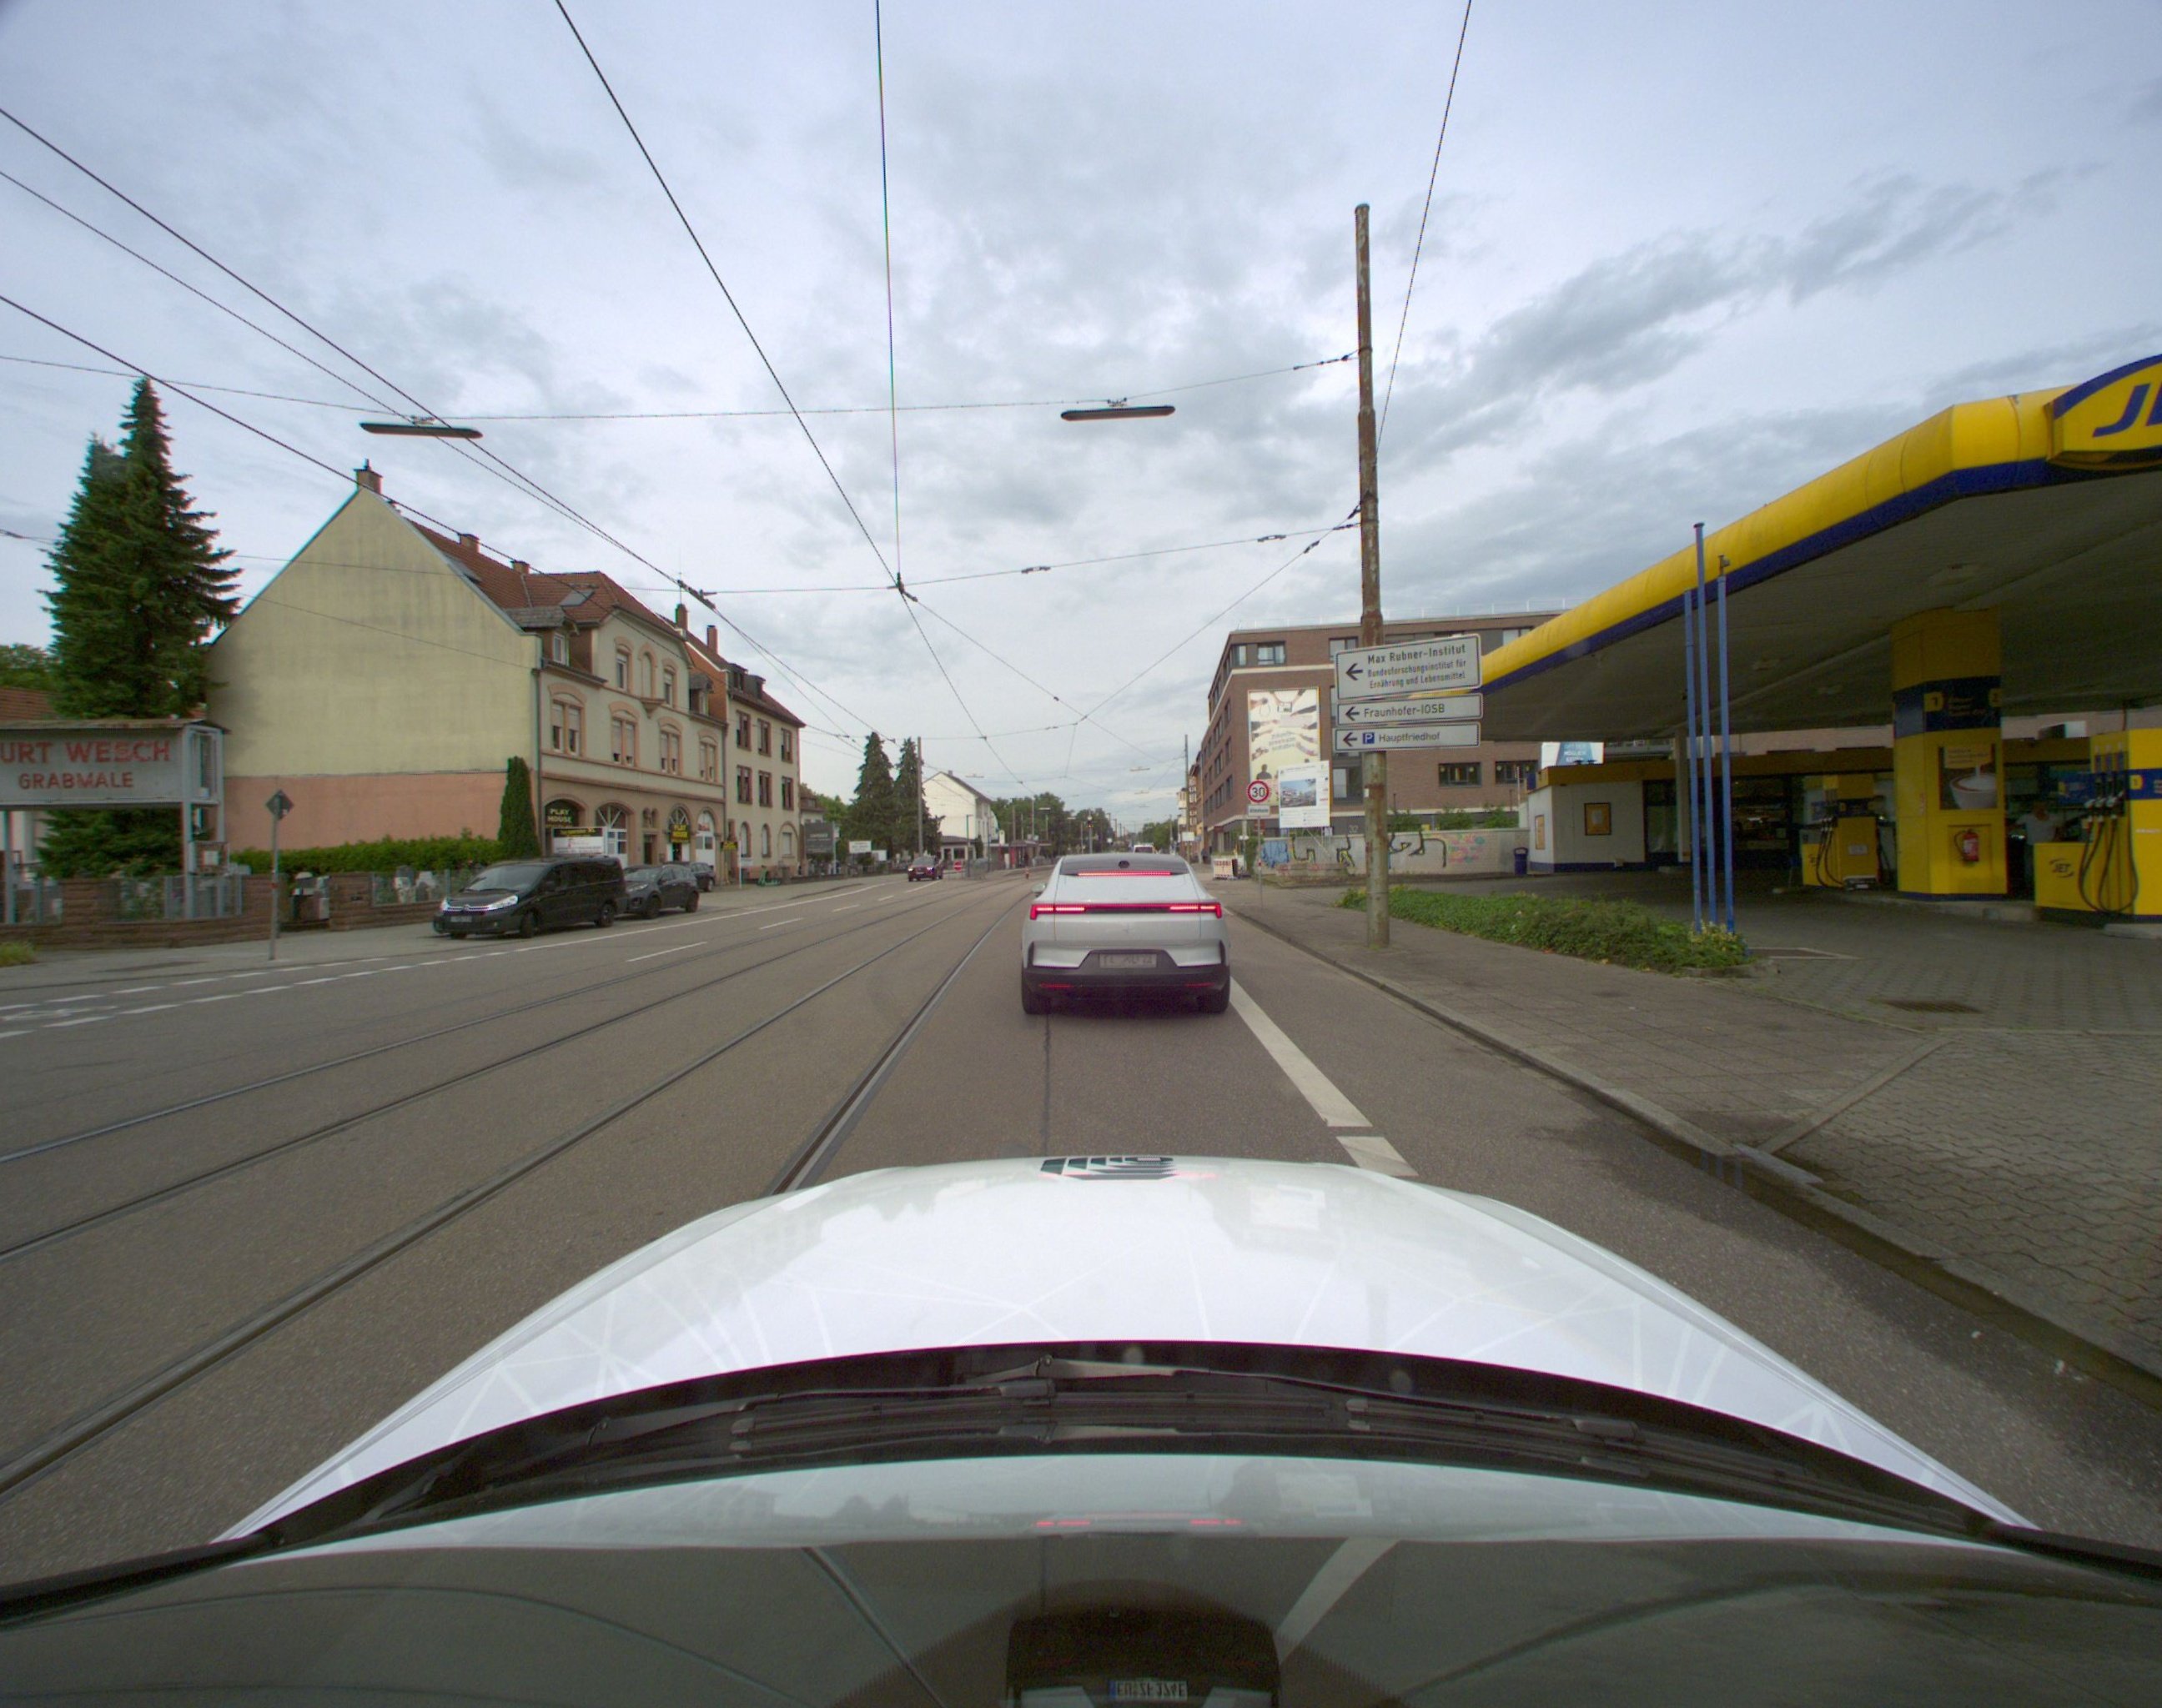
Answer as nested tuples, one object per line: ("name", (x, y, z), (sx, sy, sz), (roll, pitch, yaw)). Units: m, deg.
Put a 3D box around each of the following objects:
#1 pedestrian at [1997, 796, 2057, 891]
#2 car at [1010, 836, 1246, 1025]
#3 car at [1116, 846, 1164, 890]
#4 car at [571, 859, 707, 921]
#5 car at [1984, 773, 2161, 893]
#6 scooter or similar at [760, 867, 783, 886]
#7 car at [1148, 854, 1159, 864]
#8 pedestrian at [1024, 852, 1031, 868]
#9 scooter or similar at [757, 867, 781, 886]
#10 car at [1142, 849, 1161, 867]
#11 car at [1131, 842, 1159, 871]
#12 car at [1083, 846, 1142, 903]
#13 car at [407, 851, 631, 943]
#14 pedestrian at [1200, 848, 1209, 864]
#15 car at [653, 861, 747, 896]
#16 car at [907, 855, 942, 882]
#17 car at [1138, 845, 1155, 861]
("pedestrian", (18.198, -0.194, 15.680), (0.619, 1.787, 0.712), (-1, -1, 40))
("car", (0.426, 0.669, 8.903), (1.992, 1.581, 4.000), (0, -1, 1))
("car", (2.639, 0.613, 37.438), (1.986, 1.816, 4.002), (-2, 0, 2))
("car", (-14.124, 1.091, 26.384), (2.032, 1.749, 4.531), (0, 0, -2))
("car", (19.407, -0.376, 15.010), (1.803, 1.988, 4.275), (-3, -1, 19))
("scooter or similar", (-17.996, 1.291, 47.342), (1.181, 1.102, 0.523), (0, -1, -29))
("car", (14.888, 1.094, 166.818), (1.986, 2.014, 4.001), (-1, 0, 2))
("pedestrian", (-5.785, 0.629, 87.851), (0.612, 1.664, 0.699), (-1, -1, 7))
("scooter or similar", (-17.827, 1.284, 46.522), (1.181, 1.102, 0.523), (0, -1, -29))
("car", (8.154, 0.509, 94.272), (1.986, 2.014, 4.002), (-1, 0, 2))
("car", (5.574, 0.222, 71.921), (2.217, 2.402, 5.125), (-1, 0, 2))
("car", (1.093, 0.638, 26.403), (1.673, 1.687, 3.829), (-1, 0, 5))
("car", (-13.691, 0.960, 20.360), (1.981, 2.014, 5.183), (0, 0, -1))
("pedestrian", (14.660, 0.247, 96.452), (0.954, 1.850, 0.978), (-4, 0, 11))
("car", (-17.516, 1.083, 37.740), (1.987, 1.493, 4.902), (-1, 0, 0))
("car", (-10.692, 0.980, 55.863), (1.839, 1.724, 4.399), (-1, 0, -5))
("car", (8.425, -0.127, 105.265), (1.986, 2.014, 4.002), (-1, 0, 2))
